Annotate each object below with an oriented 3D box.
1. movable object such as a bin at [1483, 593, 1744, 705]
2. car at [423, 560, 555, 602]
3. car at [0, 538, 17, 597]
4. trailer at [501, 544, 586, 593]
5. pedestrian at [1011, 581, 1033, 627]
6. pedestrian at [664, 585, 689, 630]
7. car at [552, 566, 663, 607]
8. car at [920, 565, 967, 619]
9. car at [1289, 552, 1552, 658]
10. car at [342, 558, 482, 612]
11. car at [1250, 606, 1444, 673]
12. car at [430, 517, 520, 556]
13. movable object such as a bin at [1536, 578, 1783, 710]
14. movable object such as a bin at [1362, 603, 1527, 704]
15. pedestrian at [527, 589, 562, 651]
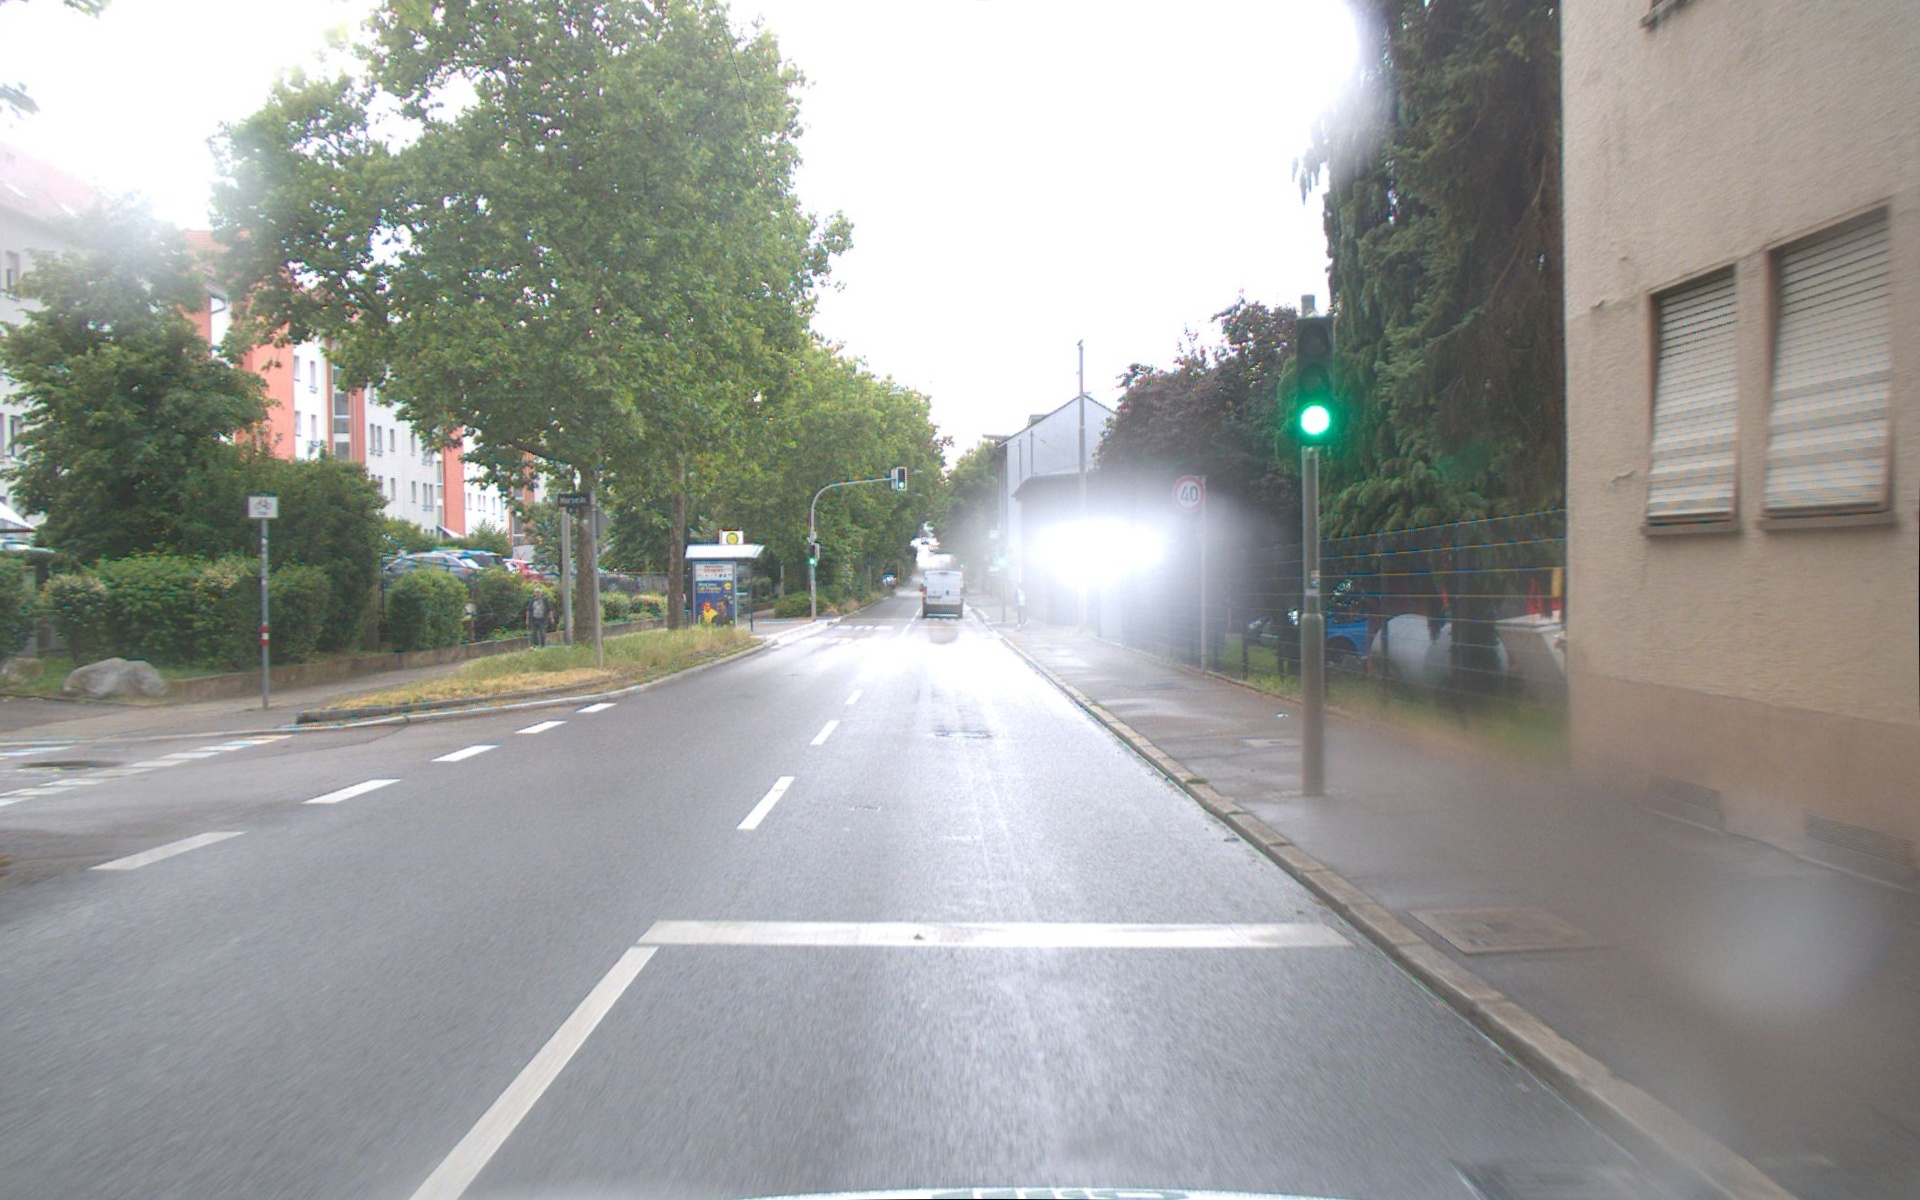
[{"bbox_3d":[10.088,0.738,25.693,3.264,1.605,1.890,1,0,-4],"label":"movable object such as a bin"},{"bbox_3d":[-16.172,-0.637,56.939,4.005,1.325,1.809,1,-1,-1],"label":"car"},{"bbox_3d":[-25.728,-0.844,40.755,3.904,1.439,1.849,1,-1,1],"label":"car"},{"bbox_3d":[-14.889,-1.121,59.195,2.649,1.674,1.480,1,0,0],"label":"trailer"},{"bbox_3d":[2.405,0.153,64.054,0.728,1.734,0.900,1,-1,-6],"label":"pedestrian"},{"bbox_3d":[-10.549,0.289,61.548,0.726,1.626,0.606,-4,-1,2],"label":"pedestrian"},{"bbox_3d":[-15.477,-0.580,72.819,4.453,1.701,1.999,1,-1,-2],"label":"car"},{"bbox_3d":[-0.817,-0.381,82.249,2.236,2.597,3.999,0,-1,-1],"label":"car"},{"bbox_3d":[10.483,0.107,37.901,5.455,2.249,1.999,1,0,-3],"label":"car"},{"bbox_3d":[-16.443,-0.427,49.762,3.581,1.524,1.896,1,-1,-5],"label":"car"},{"bbox_3d":[9.420,0.950,40.440,4.291,1.558,1.793,0,-1,-3],"label":"car"},{"bbox_3d":[-22.748,-2.975,77.644,3.733,1.630,1.717,1,-1,-3],"label":"car"},{"bbox_3d":[9.893,0.593,23.551,2.565,1.746,2.082,1,0,-4],"label":"movable object such as a bin"},{"bbox_3d":[7.047,0.748,24.295,1.343,1.343,2.856,1,1,-6],"label":"movable object such as a bin"},{"bbox_3d":[-11.081,0.537,44.108,0.740,1.639,0.834,1,-1,-5],"label":"pedestrian"}]
